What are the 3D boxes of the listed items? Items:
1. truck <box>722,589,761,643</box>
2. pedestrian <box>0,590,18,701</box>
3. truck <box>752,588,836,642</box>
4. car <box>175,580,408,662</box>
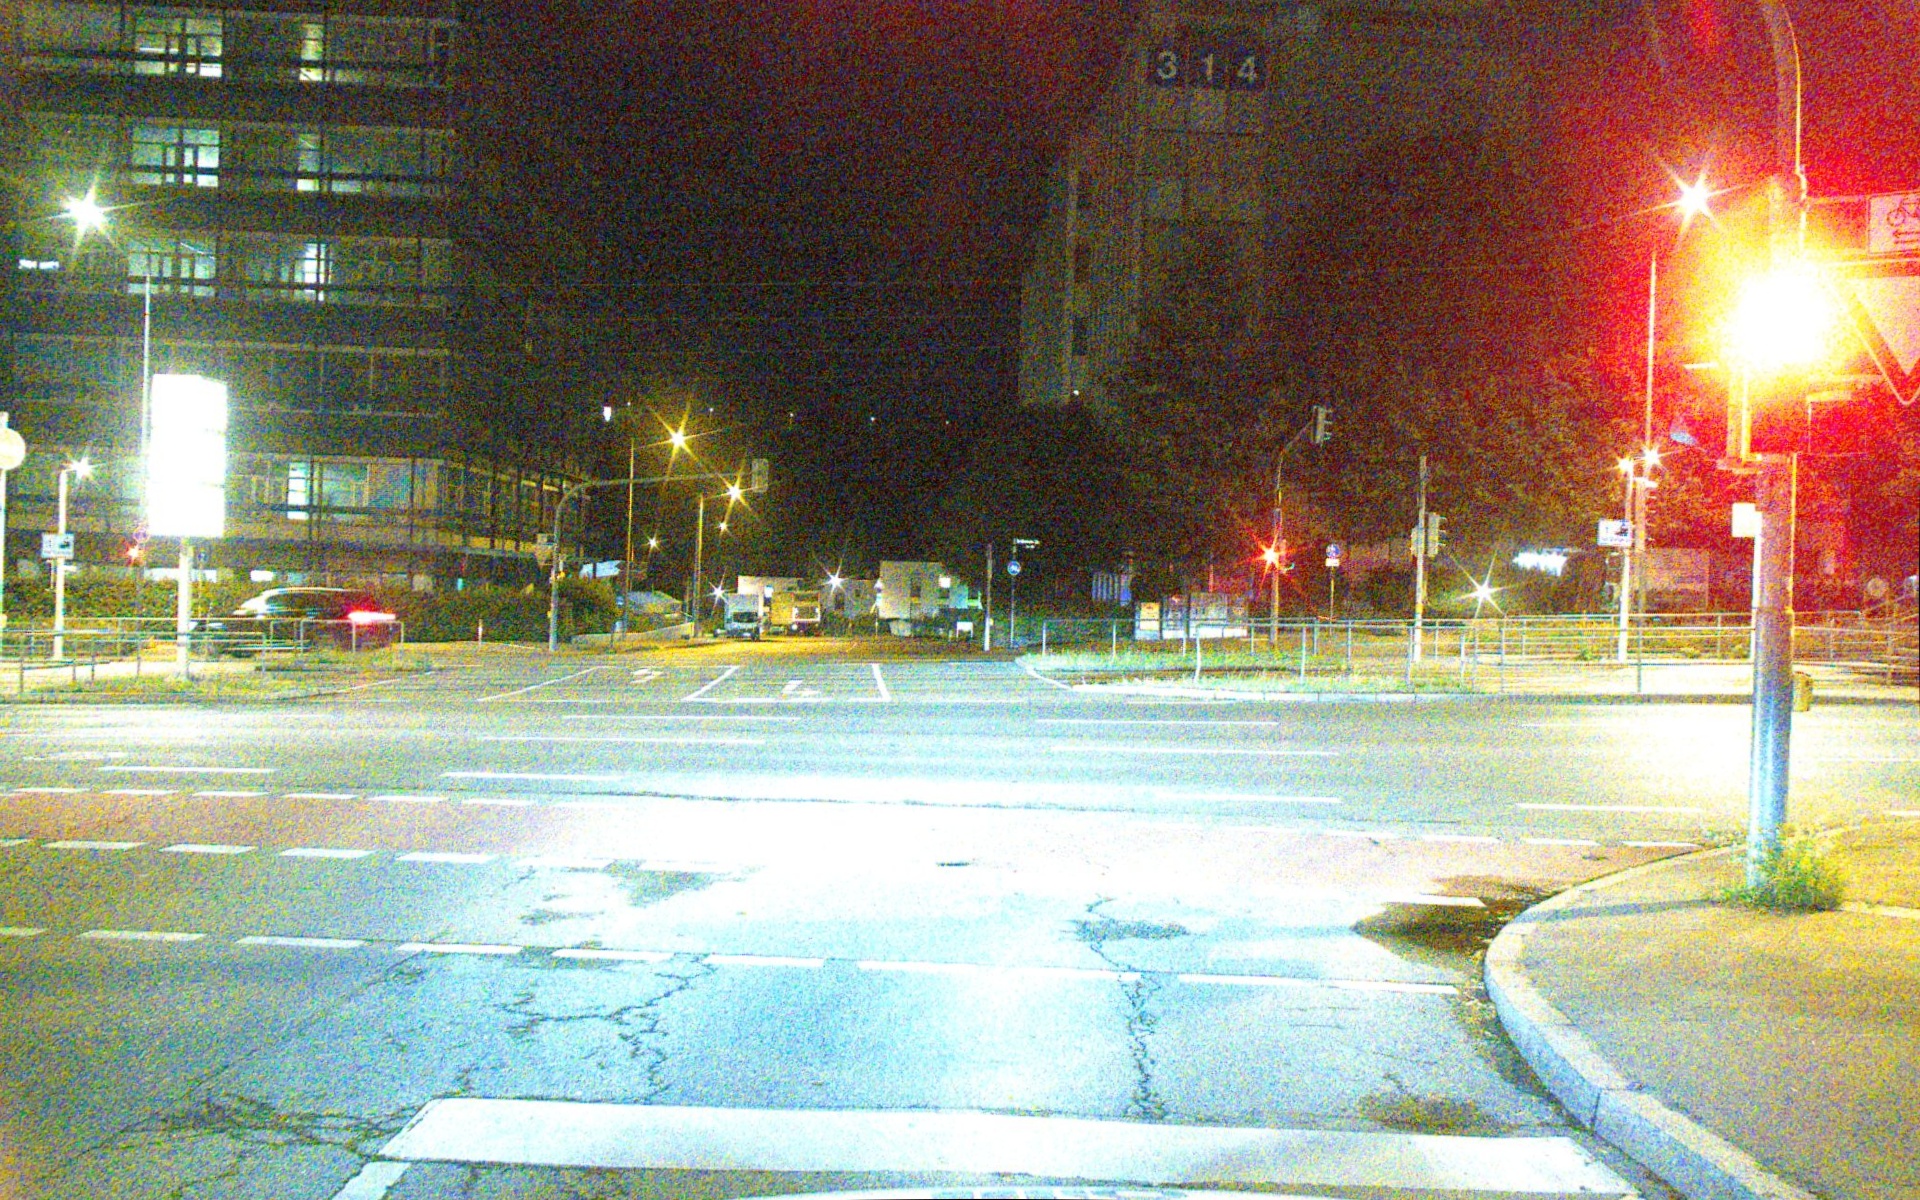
[{"bbox_3d":[-15.728,1.140,118.916,2.535,3.772,5.724,1,0,-9],"label":"truck"},{"bbox_3d":[-14.627,0.670,24.675,0.656,1.663,0.862,1,-1,-5],"label":"pedestrian"},{"bbox_3d":[-15.291,1.307,150.975,4.751,4.627,12.593,1,0,-19],"label":"truck"},{"bbox_3d":[-15.328,0.466,38.073,4.521,1.759,2.001,1,0,3],"label":"car"}]
